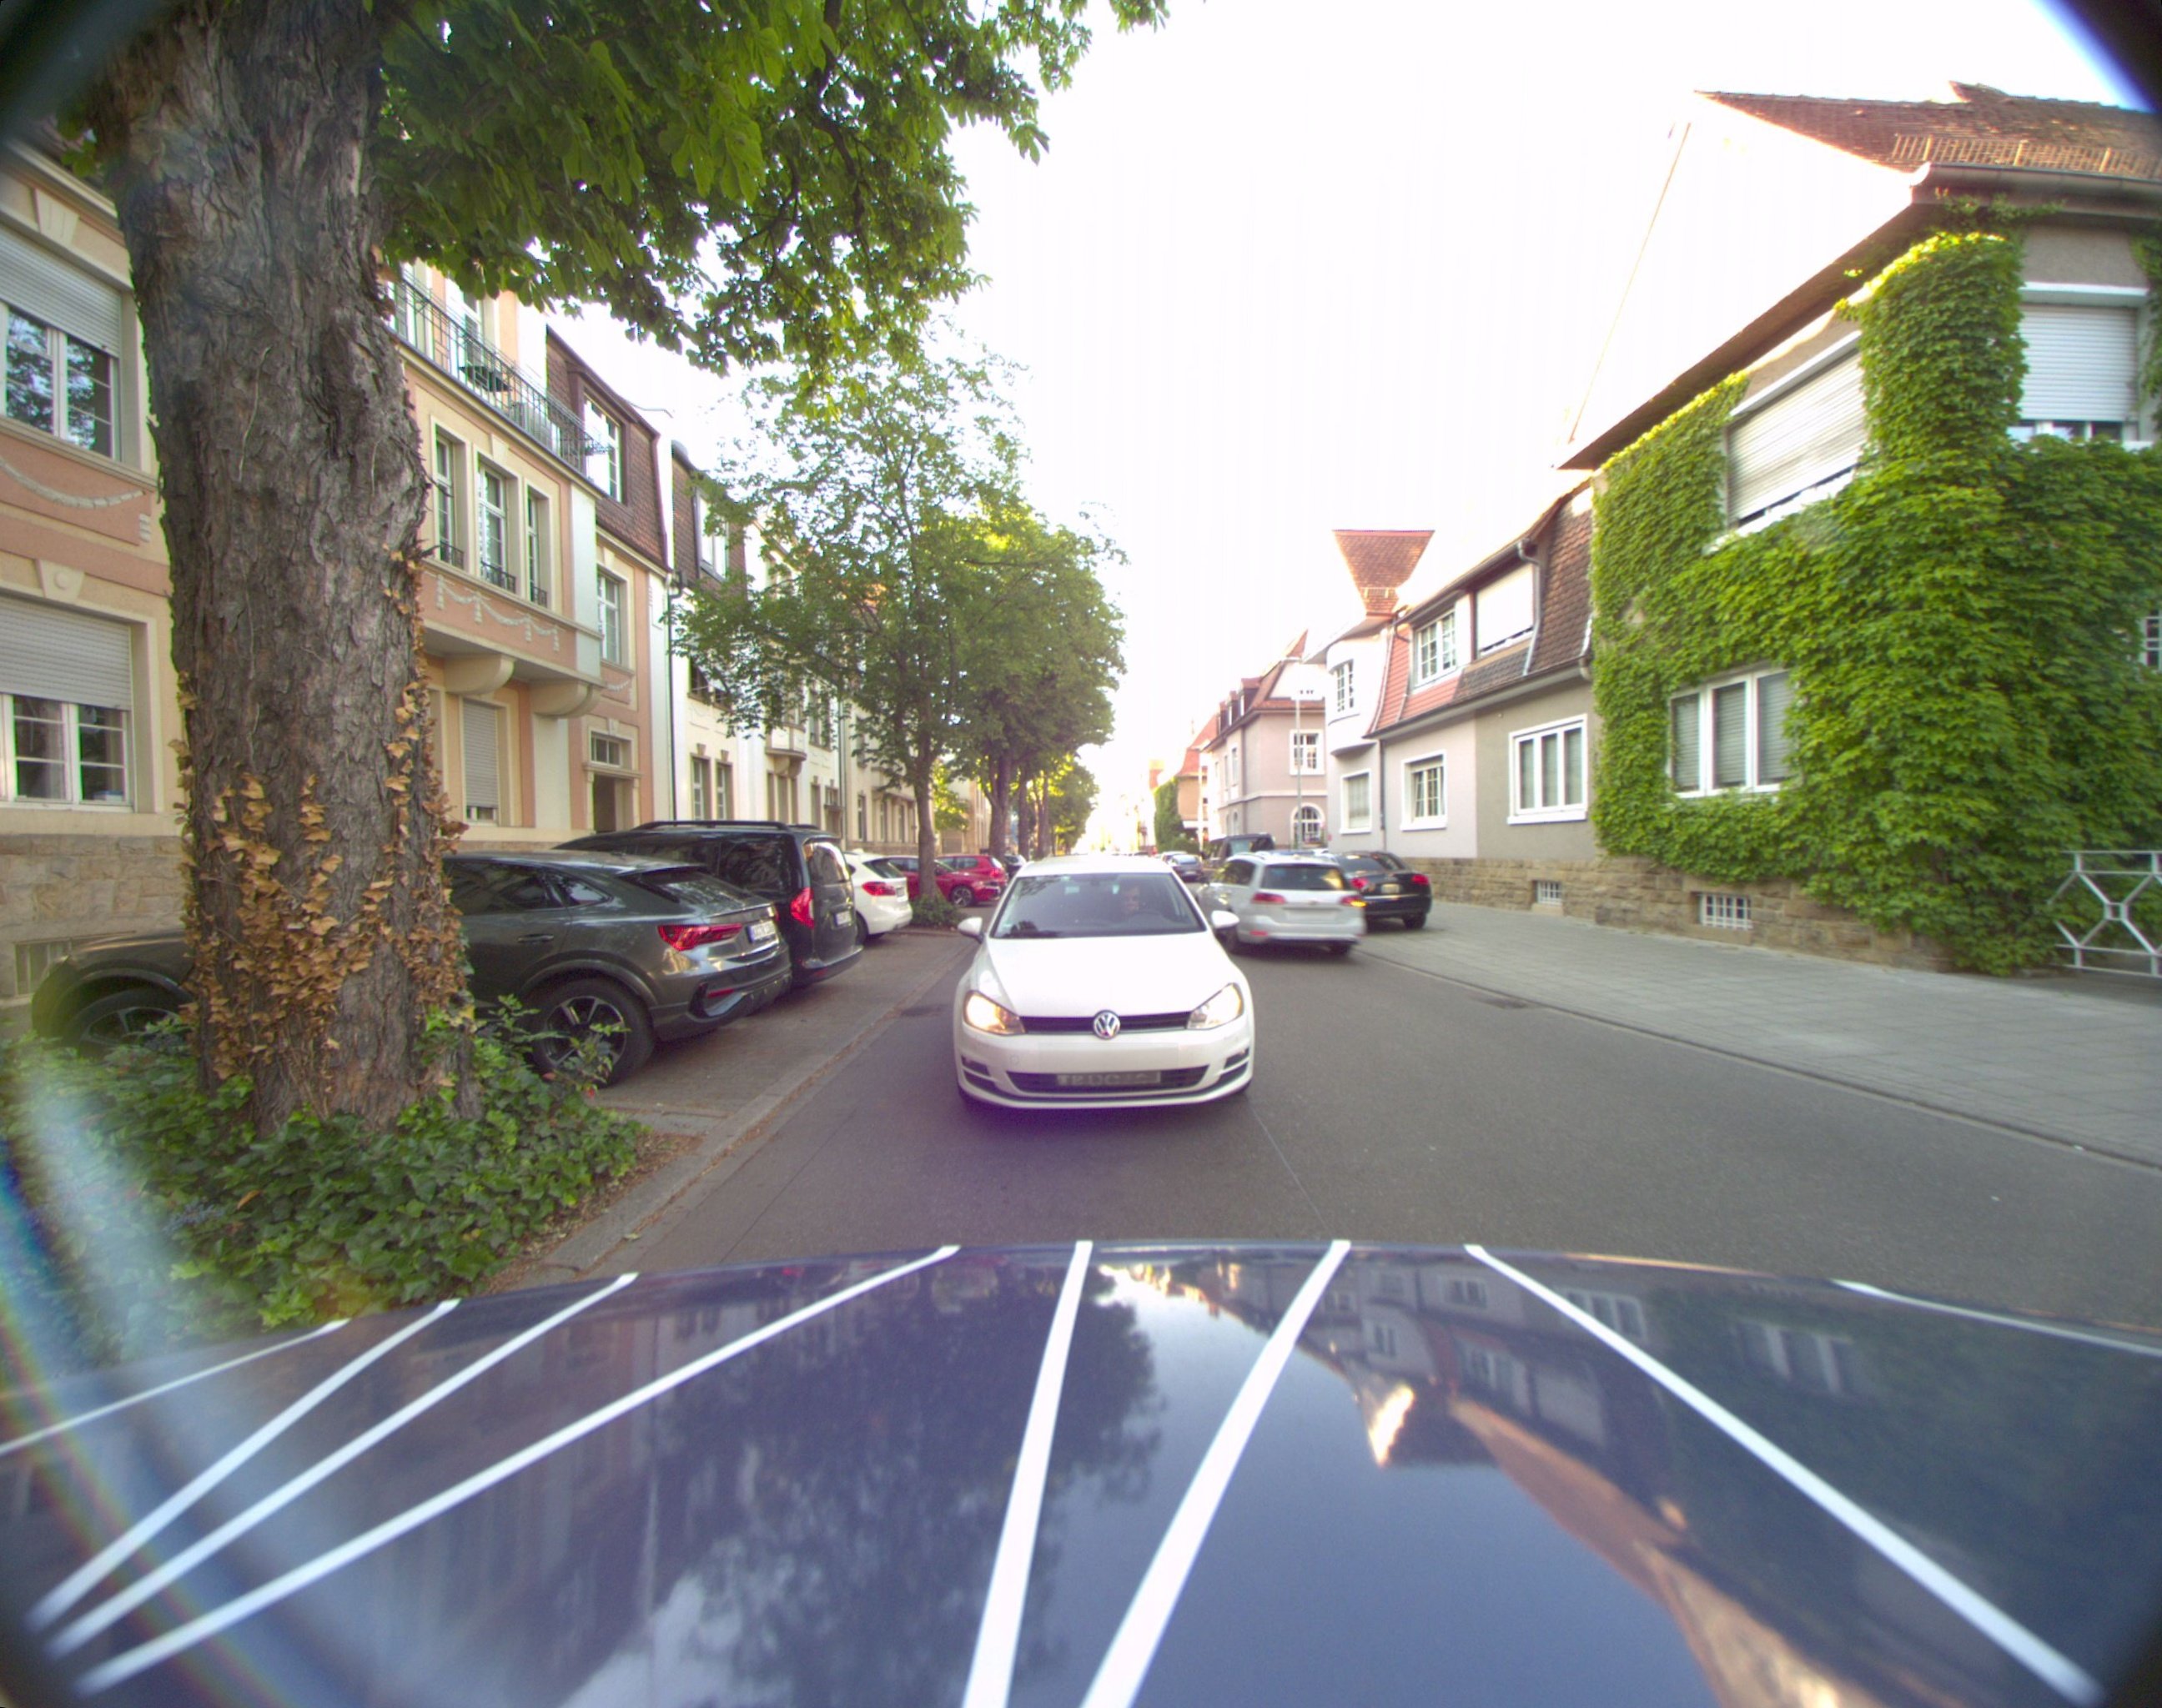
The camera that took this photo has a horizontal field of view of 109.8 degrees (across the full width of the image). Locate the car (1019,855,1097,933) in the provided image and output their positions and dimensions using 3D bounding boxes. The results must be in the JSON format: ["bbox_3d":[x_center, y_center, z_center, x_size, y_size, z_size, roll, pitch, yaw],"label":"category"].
[{"bbox_3d":[-0.443,0.813,17.354,1.560,1.546,3.738,1,0,1],"label":"car"}]

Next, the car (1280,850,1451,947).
[{"bbox_3d":[5.169,0.716,14.421,1.751,1.421,4.023,-4,1,1],"label":"car"}]

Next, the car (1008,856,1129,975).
[{"bbox_3d":[-0.138,0.835,12.200,1.600,1.546,4.000,1,0,1],"label":"car"}]

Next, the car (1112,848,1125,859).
[{"bbox_3d":[5.685,-0.069,115.878,1.643,1.461,3.689,-3,0,0],"label":"car"}]

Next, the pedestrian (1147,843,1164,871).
[{"bbox_3d":[5.412,0.225,55.072,1.188,2.002,0.931,1,1,4],"label":"pedestrian"}]

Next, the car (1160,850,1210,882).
[{"bbox_3d":[4.982,0.552,36.848,1.719,1.363,4.334,-3,0,0],"label":"car"}]

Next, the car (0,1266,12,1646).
[{"bbox_3d":[-4.665,0.790,0.519,4.835,1.814,1.880,1,1,-4],"label":"car"}]

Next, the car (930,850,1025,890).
[{"bbox_3d":[-4.171,0.632,30.948,3.622,1.555,1.537,0,1,0],"label":"car"}]

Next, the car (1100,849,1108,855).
[{"bbox_3d":[5.160,-0.461,173.344,1.643,1.461,3.689,-3,0,0],"label":"car"}]

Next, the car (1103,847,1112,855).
[{"bbox_3d":[5.244,-0.541,149.461,1.643,1.461,3.689,-3,0,0],"label":"car"}]

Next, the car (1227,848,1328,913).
[{"bbox_3d":[5.213,0.632,20.655,1.611,1.455,4.023,-4,1,0],"label":"car"}]

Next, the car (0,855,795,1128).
[{"bbox_3d":[-4.420,0.834,5.414,4.173,1.583,1.594,1,1,-4],"label":"car"}]

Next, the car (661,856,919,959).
[{"bbox_3d":[-4.604,0.825,12.391,3.623,1.541,1.537,1,1,-4],"label":"car"}]

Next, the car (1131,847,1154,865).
[{"bbox_3d":[5.492,0.139,68.222,1.643,1.461,3.945,-3,0,0],"label":"car"}]

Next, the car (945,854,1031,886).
[{"bbox_3d":[-4.139,0.719,34.138,3.622,1.395,1.537,0,1,0],"label":"car"}]

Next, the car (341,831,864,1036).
[{"bbox_3d":[-4.480,0.707,7.638,4.173,1.816,1.594,1,1,-4],"label":"car"}]

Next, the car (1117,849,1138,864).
[{"bbox_3d":[4.893,0.241,80.639,1.643,1.461,3.688,-3,0,-4],"label":"car"}]

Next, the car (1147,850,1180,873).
[{"bbox_3d":[5.446,0.460,50.667,1.719,1.363,3.945,-3,0,0],"label":"car"}]

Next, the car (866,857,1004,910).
[{"bbox_3d":[-4.116,0.822,21.767,3.622,1.395,1.537,1,1,0],"label":"car"}]

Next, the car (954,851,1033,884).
[{"bbox_3d":[-4.199,0.639,36.845,3.622,1.555,1.537,0,1,0],"label":"car"}]

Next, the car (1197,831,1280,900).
[{"bbox_3d":[5.143,0.314,25.290,1.719,1.961,4.310,-4,1,0],"label":"car"}]

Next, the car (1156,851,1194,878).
[{"bbox_3d":[5.163,0.537,42.161,1.541,1.363,3.945,-3,0,0],"label":"car"}]

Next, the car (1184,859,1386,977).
[{"bbox_3d":[2.916,0.839,11.910,1.786,1.453,4.298,1,0,-3],"label":"car"}]

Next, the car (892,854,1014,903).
[{"bbox_3d":[-4.043,0.761,24.344,3.622,1.456,1.537,1,1,0],"label":"car"}]

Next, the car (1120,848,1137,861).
[{"bbox_3d":[5.649,0.029,91.227,1.643,1.461,3.689,-3,0,-1],"label":"car"}]

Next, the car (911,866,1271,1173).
[{"bbox_3d":[0.015,0.885,5.926,1.799,1.420,4.023,-2,0,-1],"label":"car"}]

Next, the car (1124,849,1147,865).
[{"bbox_3d":[5.409,0.265,75.453,1.643,1.461,3.688,-3,0,-4],"label":"car"}]
